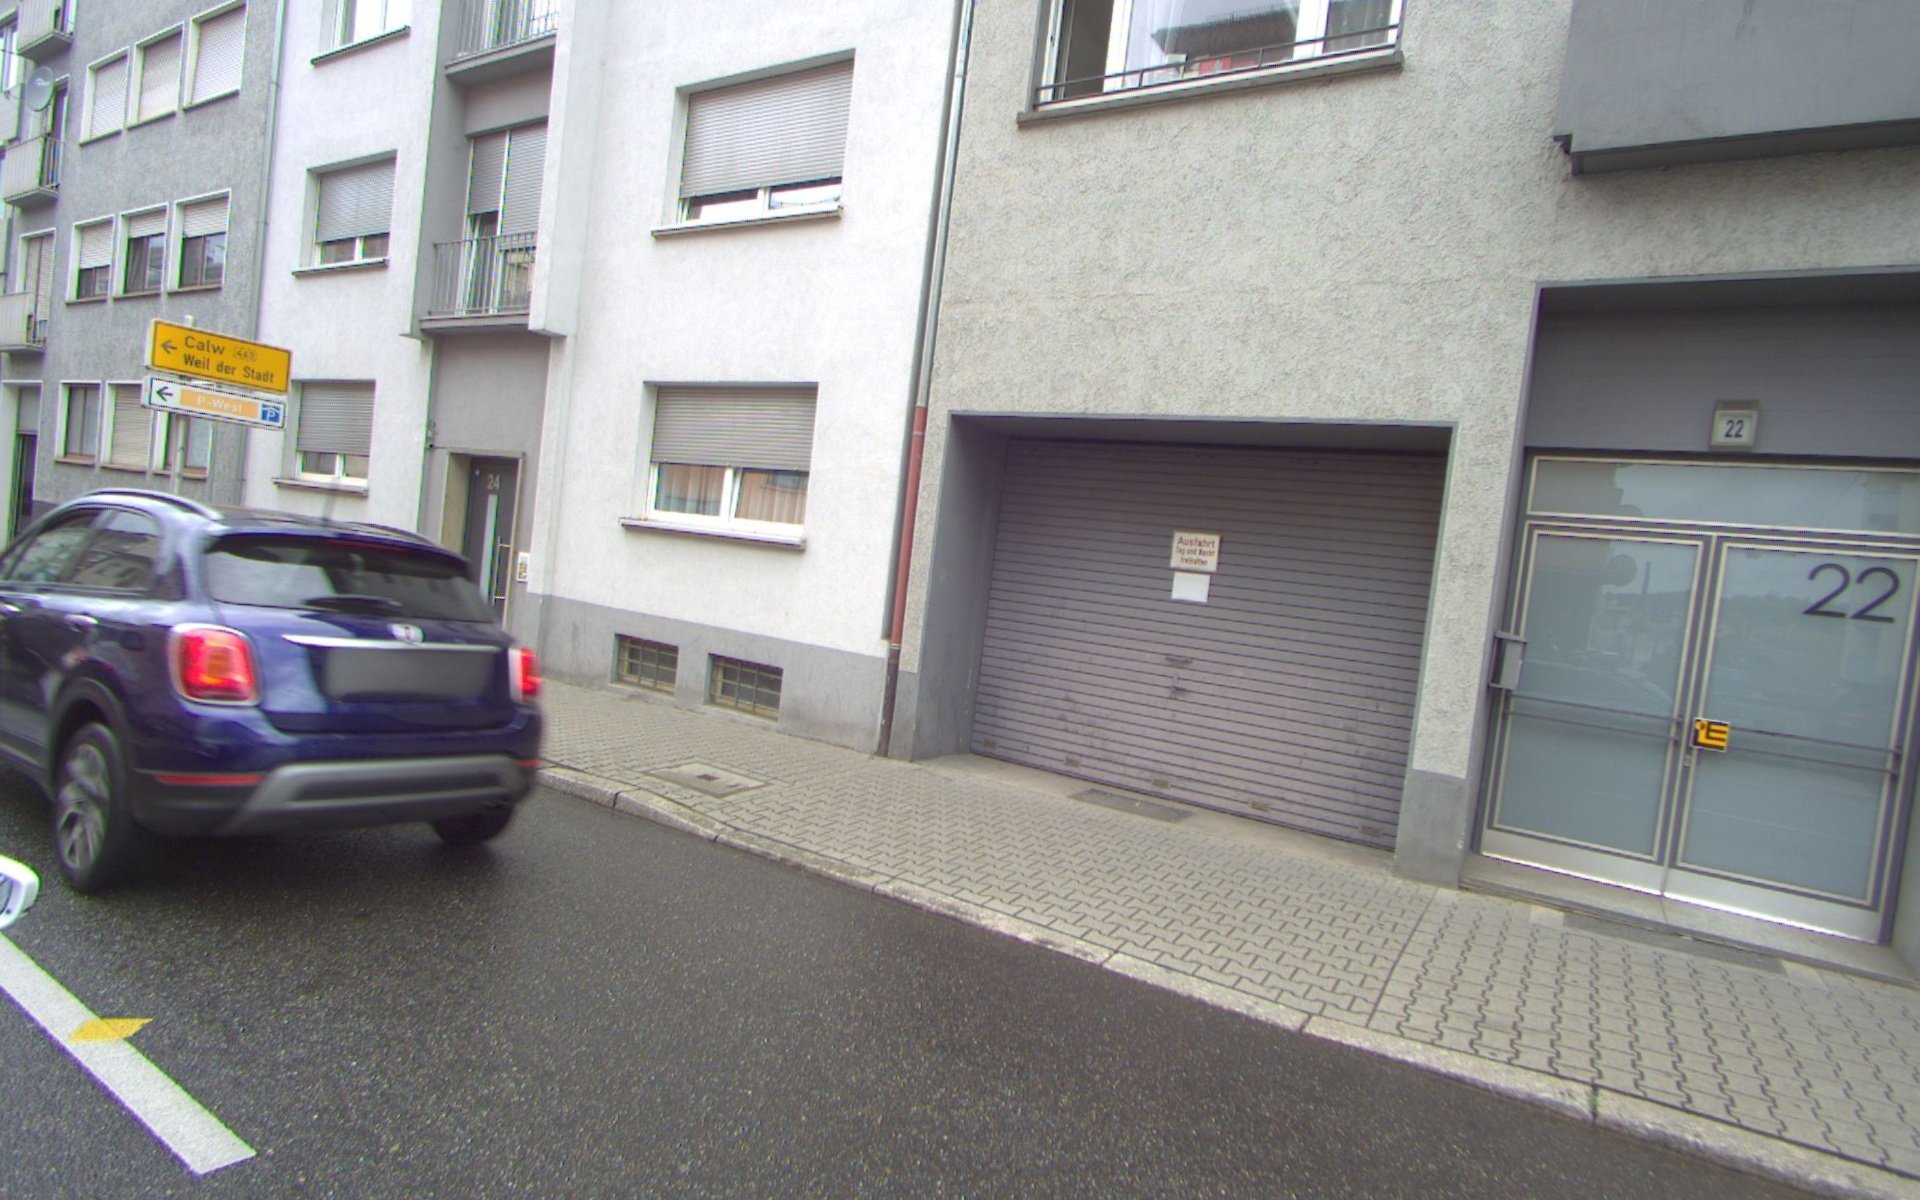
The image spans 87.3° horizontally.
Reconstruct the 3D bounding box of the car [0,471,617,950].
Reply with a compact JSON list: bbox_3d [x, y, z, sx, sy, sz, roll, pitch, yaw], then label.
[{"bbox_3d":[-3.896,0.289,5.256,3.934,1.600,1.769,7,0,32],"label":"car"}]
